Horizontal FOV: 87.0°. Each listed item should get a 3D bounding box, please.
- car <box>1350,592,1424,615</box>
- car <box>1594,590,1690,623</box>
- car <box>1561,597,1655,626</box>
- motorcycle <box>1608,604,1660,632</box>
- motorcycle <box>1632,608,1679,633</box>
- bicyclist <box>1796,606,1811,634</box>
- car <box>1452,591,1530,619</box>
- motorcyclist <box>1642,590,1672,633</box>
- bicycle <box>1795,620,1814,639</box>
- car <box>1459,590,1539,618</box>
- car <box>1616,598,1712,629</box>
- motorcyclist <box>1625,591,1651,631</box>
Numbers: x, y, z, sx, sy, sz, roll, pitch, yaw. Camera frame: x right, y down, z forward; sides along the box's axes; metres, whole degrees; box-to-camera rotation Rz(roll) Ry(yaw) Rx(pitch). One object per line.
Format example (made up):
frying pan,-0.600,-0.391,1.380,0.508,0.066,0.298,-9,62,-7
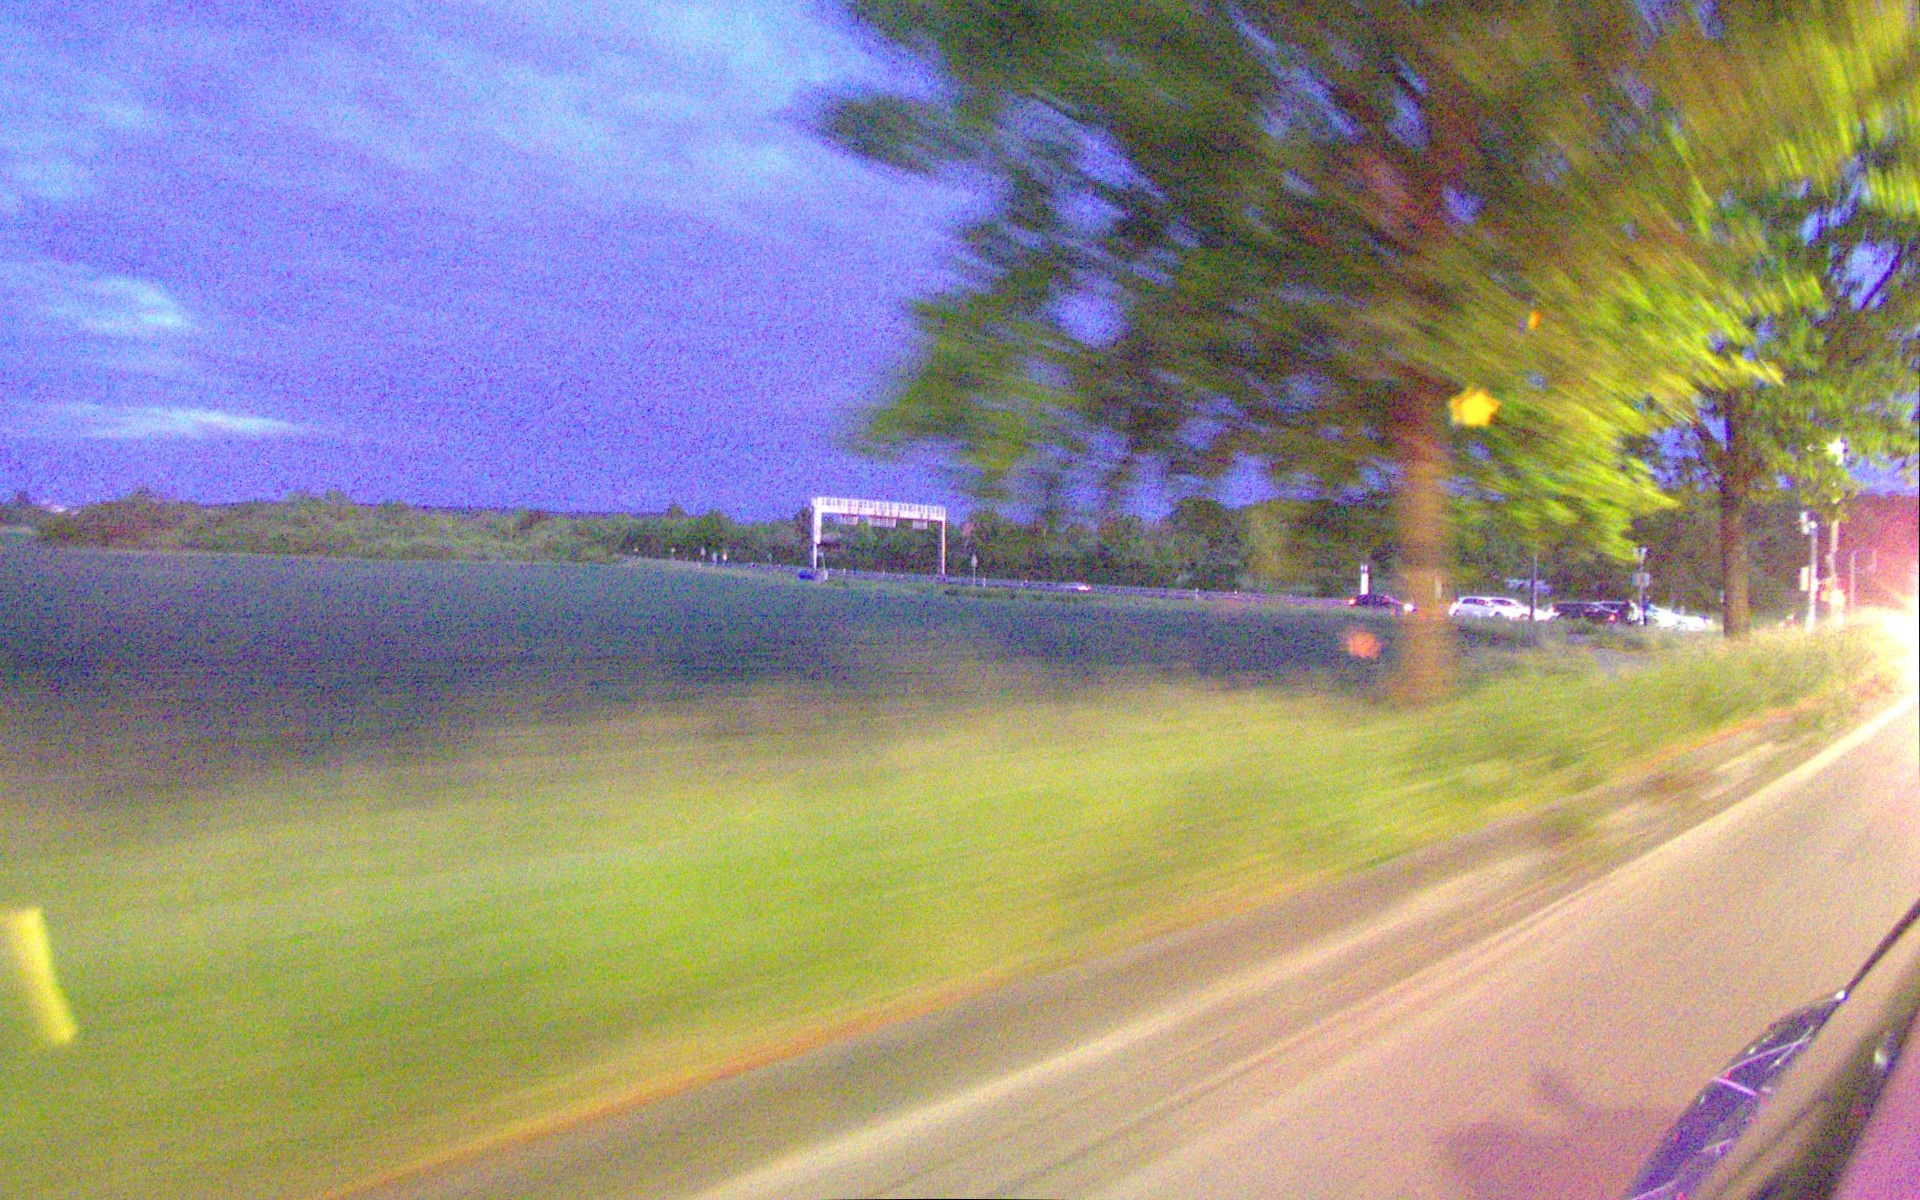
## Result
car,29.592,0.234,70.247,1.804,1.407,4.393,1,1,-39
car,41.437,0.388,61.556,1.879,1.703,4.418,3,1,-38
car,38.244,0.663,59.836,1.753,1.464,4.289,3,1,-38
motorcycle,30.997,0.843,46.567,1.795,1.196,0.846,-1,2,16
motorcycle,31.257,0.929,45.510,1.558,1.046,0.718,-2,1,21
bicyclist,52.053,1.222,62.432,0.602,1.672,0.984,2,0,45
car,34.055,0.306,64.975,1.804,1.543,3.997,1,2,-39
motorcyclist,31.300,0.519,45.438,0.860,1.831,0.911,-2,1,21
bicycle,52.224,1.819,62.558,0.693,1.115,2.034,2,0,45
car,36.182,0.240,68.047,1.719,1.647,4.361,3,1,-38
car,44.160,0.860,63.600,1.824,1.653,4.582,2,1,-39
motorcyclist,31.184,0.520,46.534,0.779,1.781,0.681,-1,1,15
